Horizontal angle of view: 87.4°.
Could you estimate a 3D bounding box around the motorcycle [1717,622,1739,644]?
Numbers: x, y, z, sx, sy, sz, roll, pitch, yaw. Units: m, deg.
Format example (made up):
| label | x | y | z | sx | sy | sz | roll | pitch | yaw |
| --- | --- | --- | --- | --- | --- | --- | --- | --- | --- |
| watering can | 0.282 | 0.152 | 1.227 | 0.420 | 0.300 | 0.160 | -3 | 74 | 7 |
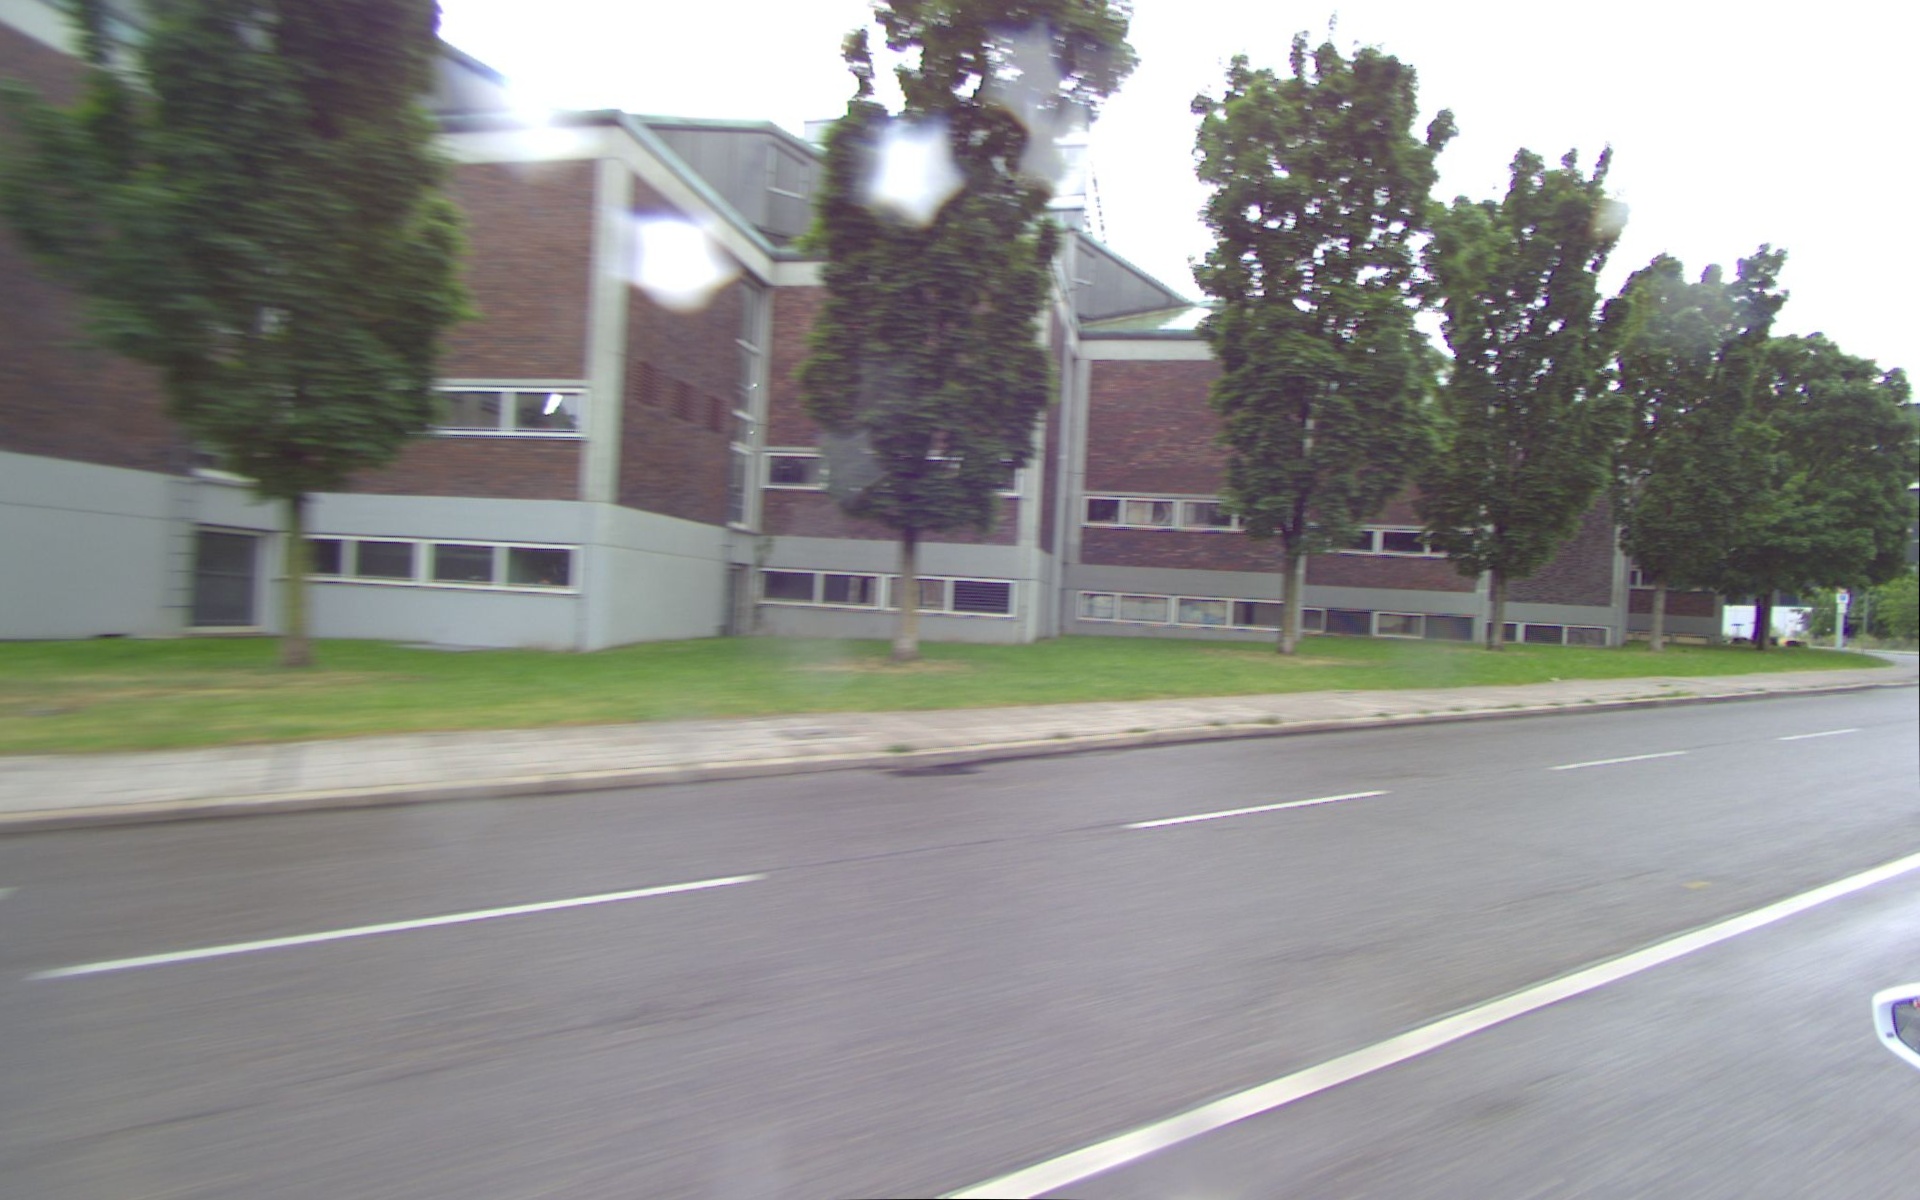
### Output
| label | x | y | z | sx | sy | sz | roll | pitch | yaw |
| --- | --- | --- | --- | --- | --- | --- | --- | --- | --- |
| motorcycle | 43.036 | 1.846 | 56.285 | 0.404 | 1.140 | 1.171 | 3 | 0 | 6 |
